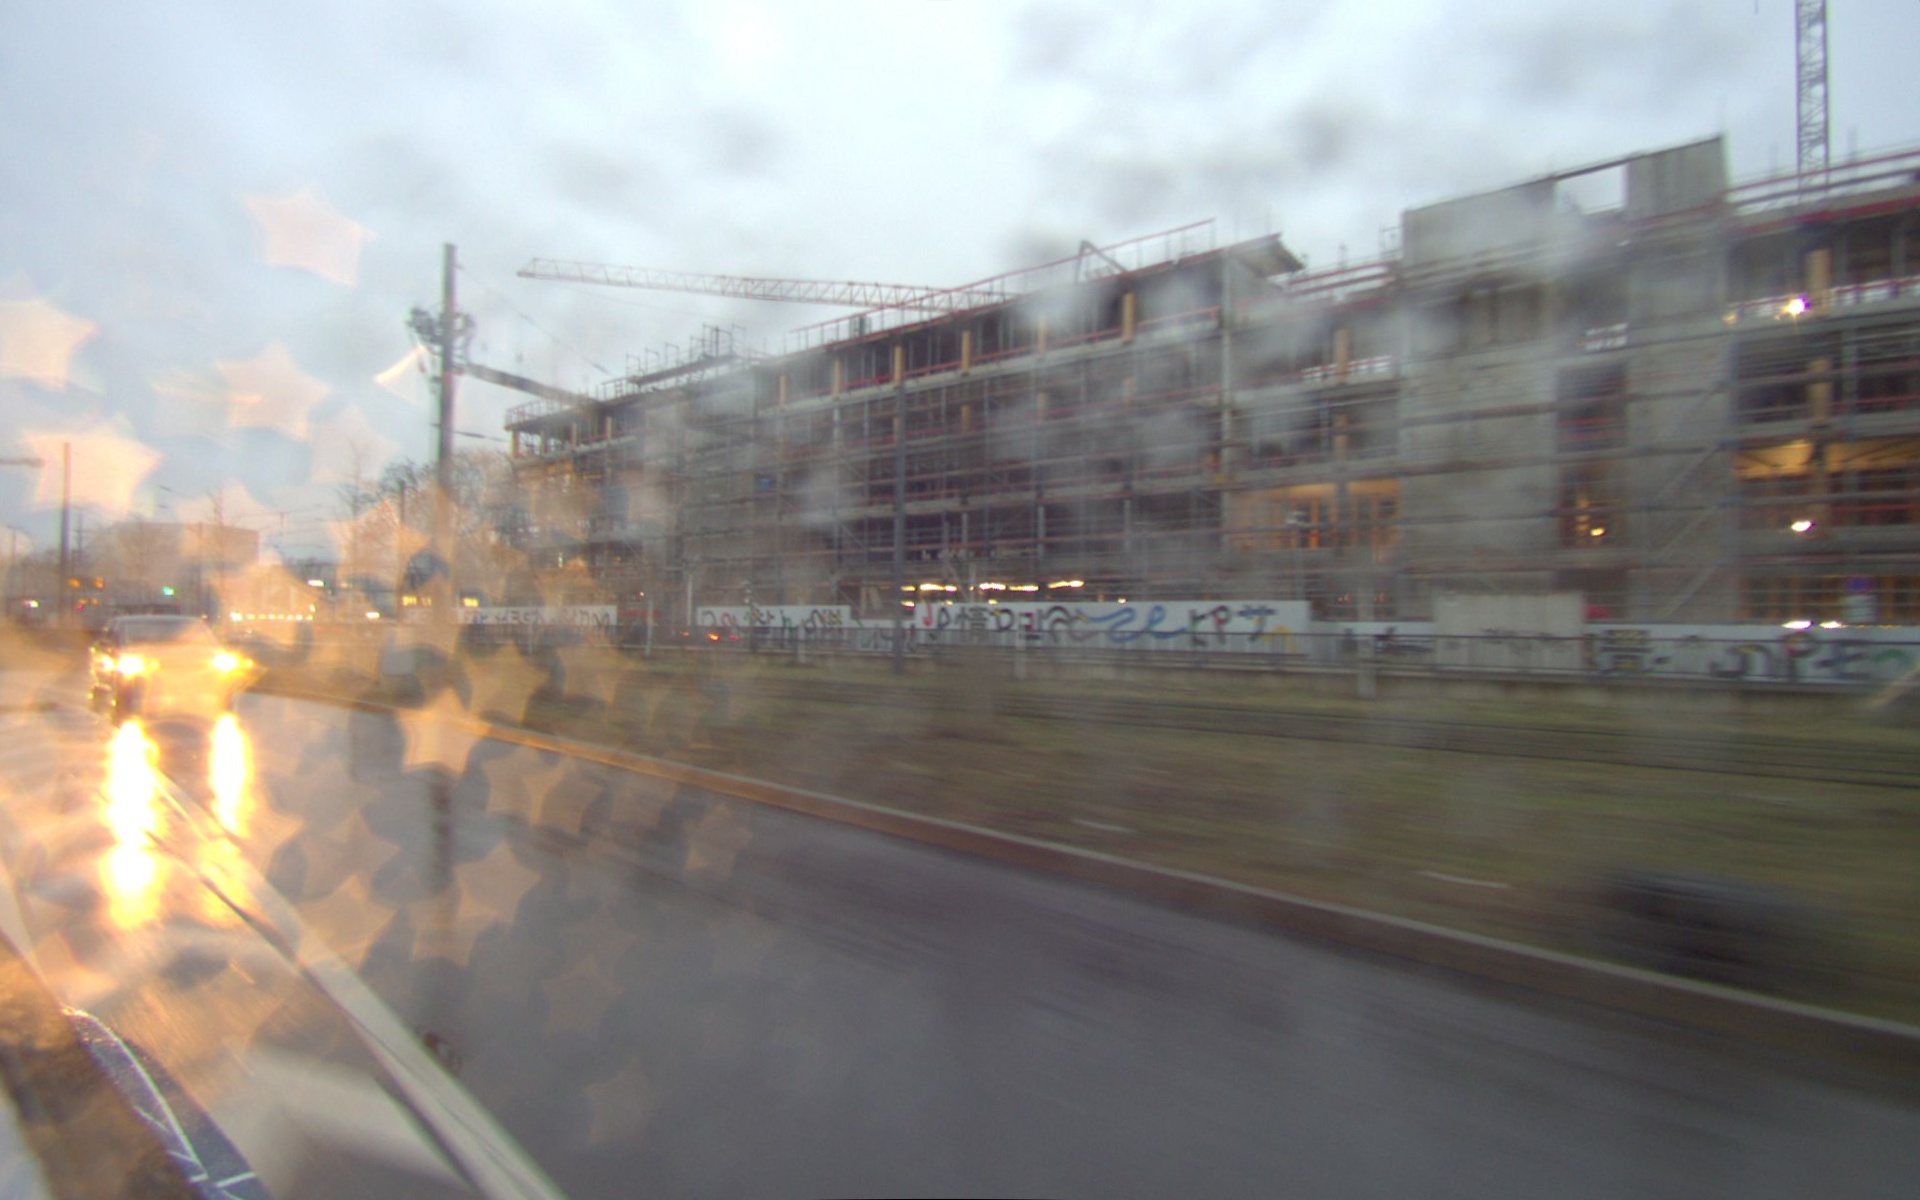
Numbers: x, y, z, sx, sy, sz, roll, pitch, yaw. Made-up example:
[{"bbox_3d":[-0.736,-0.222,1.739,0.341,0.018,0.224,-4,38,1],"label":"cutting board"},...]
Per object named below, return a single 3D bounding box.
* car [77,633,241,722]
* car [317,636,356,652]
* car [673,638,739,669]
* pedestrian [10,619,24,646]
[{"bbox_3d":[-14.897,1.357,18.754,4.005,1.464,1.785,-2,-3,43],"label":"car"},{"bbox_3d":[-55.818,3.923,90.564,4.336,1.425,1.665,-2,-2,40],"label":"car"},{"bbox_3d":[-14.214,2.938,56.575,3.761,1.675,1.736,-2,-3,40],"label":"car"},{"bbox_3d":[-58.783,2.025,63.112,0.577,1.714,0.741,1,-1,-40],"label":"pedestrian"}]
